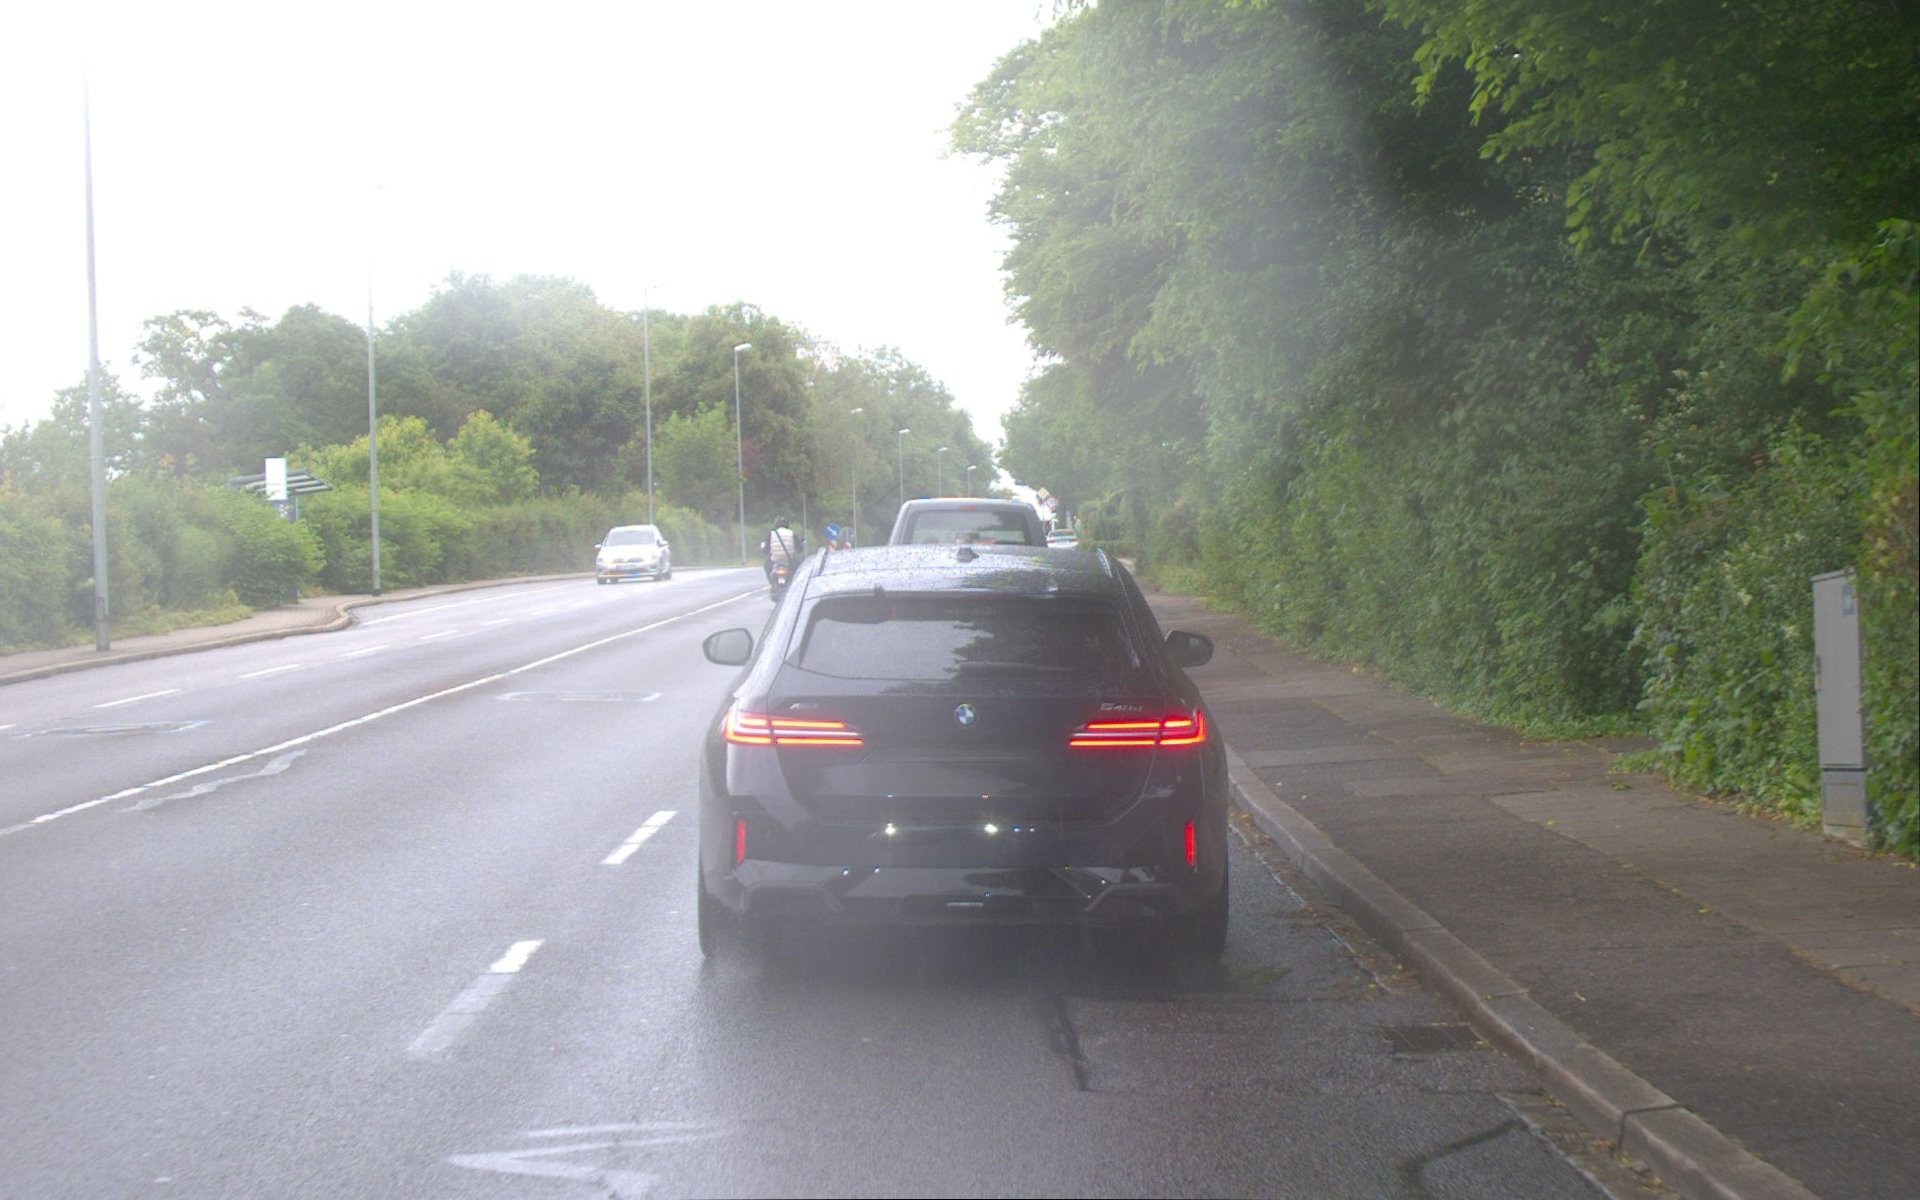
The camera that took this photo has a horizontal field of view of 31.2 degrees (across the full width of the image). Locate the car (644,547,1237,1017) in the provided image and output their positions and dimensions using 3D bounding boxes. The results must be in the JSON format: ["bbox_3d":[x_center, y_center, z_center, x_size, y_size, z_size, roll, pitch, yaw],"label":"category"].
[{"bbox_3d":[-0.006,0.558,13.157,1.897,1.484,4.000,1,1,2],"label":"car"}]

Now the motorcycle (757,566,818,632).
[{"bbox_3d":[-2.991,-0.027,59.862,0.876,1.120,2.741,1,0,1],"label":"motorcycle"}]

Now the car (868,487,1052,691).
[{"bbox_3d":[0.026,-0.144,33.558,1.629,1.827,4.000,-2,1,1],"label":"car"}]

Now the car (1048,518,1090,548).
[{"bbox_3d":[5.427,-3.315,170.561,1.935,1.437,4.407,-2,1,3],"label":"car"}]

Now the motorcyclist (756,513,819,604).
[{"bbox_3d":[-3.004,-0.721,59.962,1.039,1.562,0.855,1,0,1],"label":"motorcyclist"}]

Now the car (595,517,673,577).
[{"bbox_3d":[-9.031,-1.494,95.488,1.756,1.563,4.000,-2,1,-1],"label":"car"}]
